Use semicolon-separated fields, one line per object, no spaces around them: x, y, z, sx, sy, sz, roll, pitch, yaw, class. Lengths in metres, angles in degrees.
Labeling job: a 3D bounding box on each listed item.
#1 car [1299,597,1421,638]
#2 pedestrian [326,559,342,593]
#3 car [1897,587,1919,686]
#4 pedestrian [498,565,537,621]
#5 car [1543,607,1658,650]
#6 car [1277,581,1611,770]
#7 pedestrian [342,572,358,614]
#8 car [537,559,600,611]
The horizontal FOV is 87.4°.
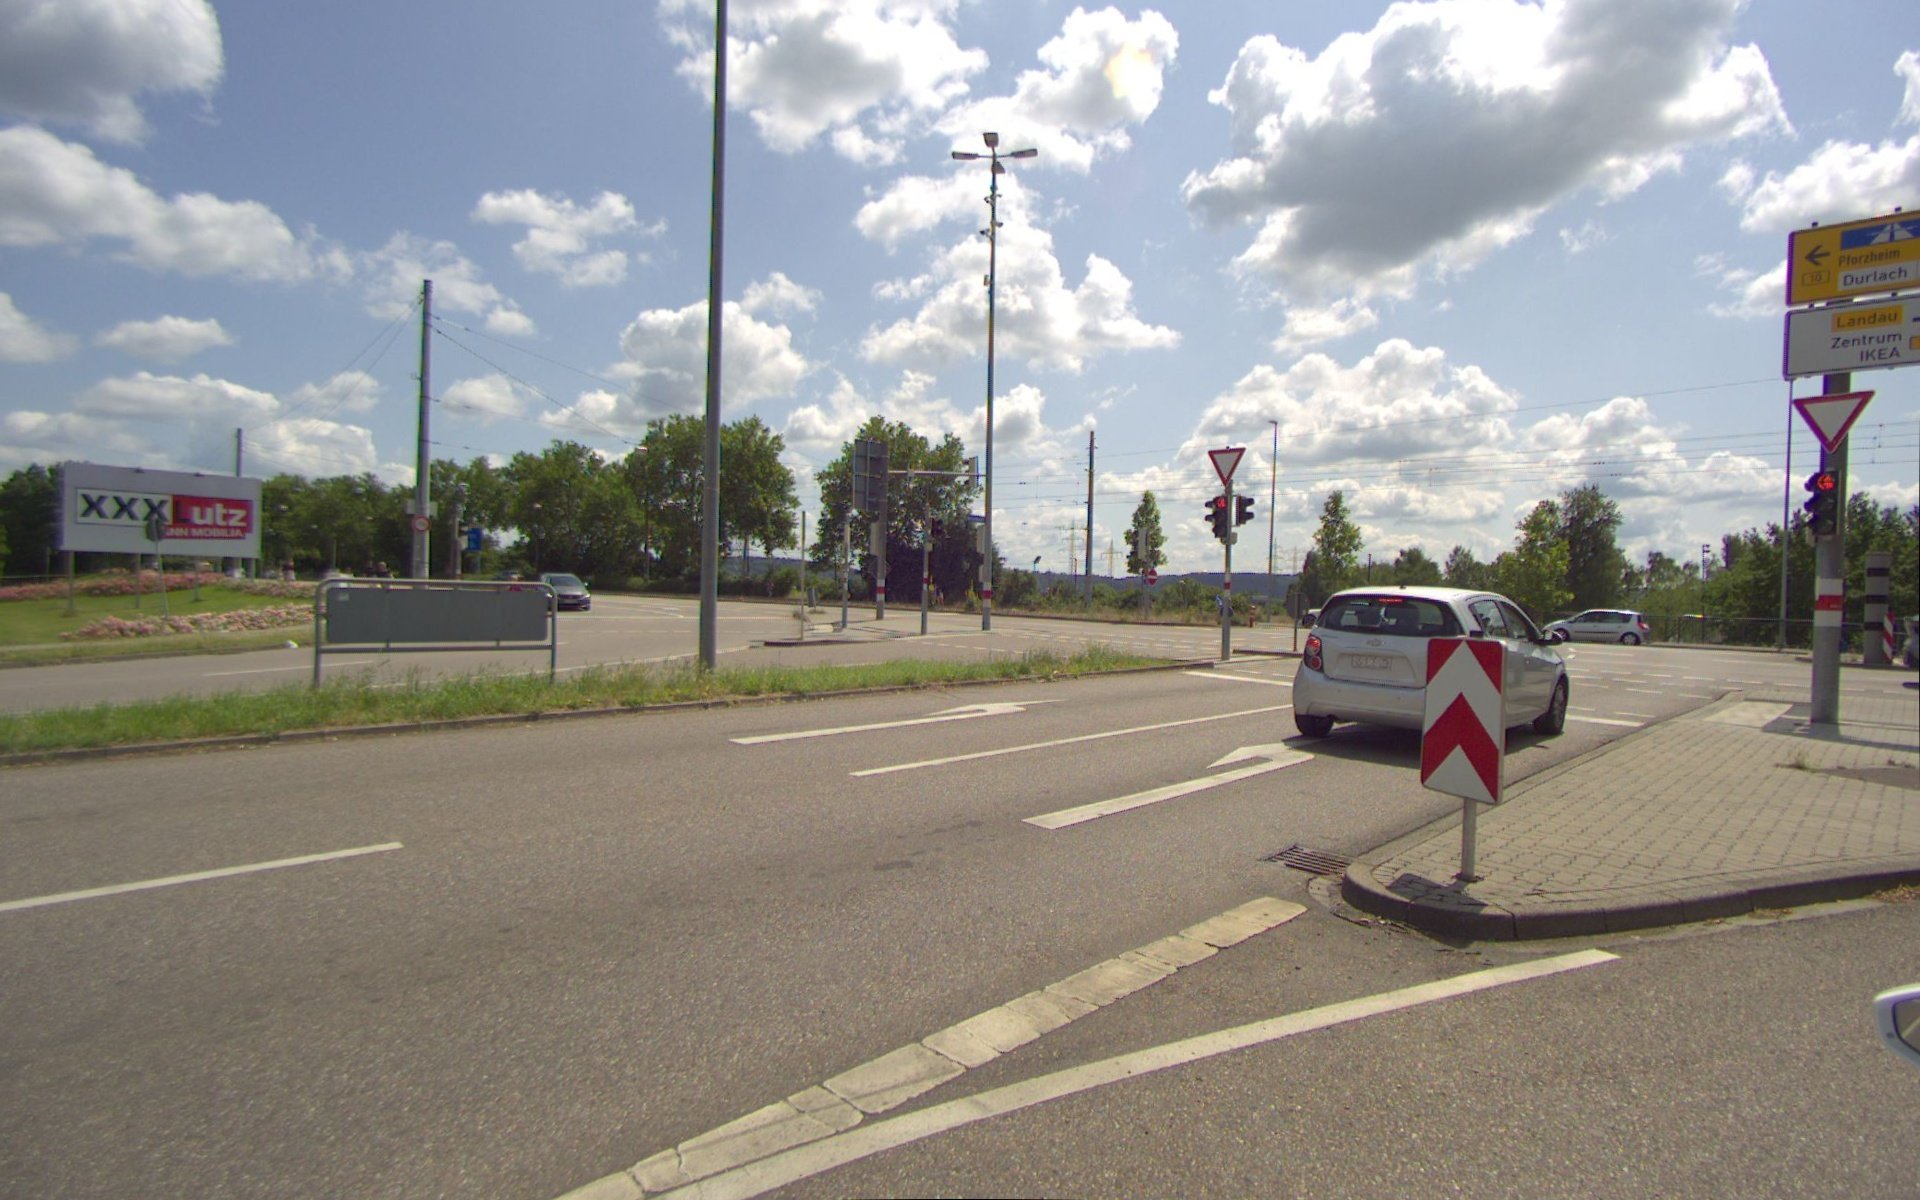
19.108;0.790;48.144;5.064;1.832;1.988;1;0;45;car
-37.356;-1.429;59.938;0.764;2.040;0.564;1;0;-25;pedestrian
18.682;0.724;16.690;4.455;1.697;1.893;3;1;43;car
-15.286;-0.253;34.714;0.782;1.862;0.867;4;1;16;pedestrian
29.131;1.284;45.765;4.254;1.679;1.808;1;-5;38;car
5.028;0.616;10.206;1.875;1.489;3.809;4;2;45;car
-27.207;-0.316;44.805;0.591;1.835;0.529;1;0;-35;pedestrian
-16.411;-0.575;41.968;1.976;2.040;3.970;1;0;-29;car
